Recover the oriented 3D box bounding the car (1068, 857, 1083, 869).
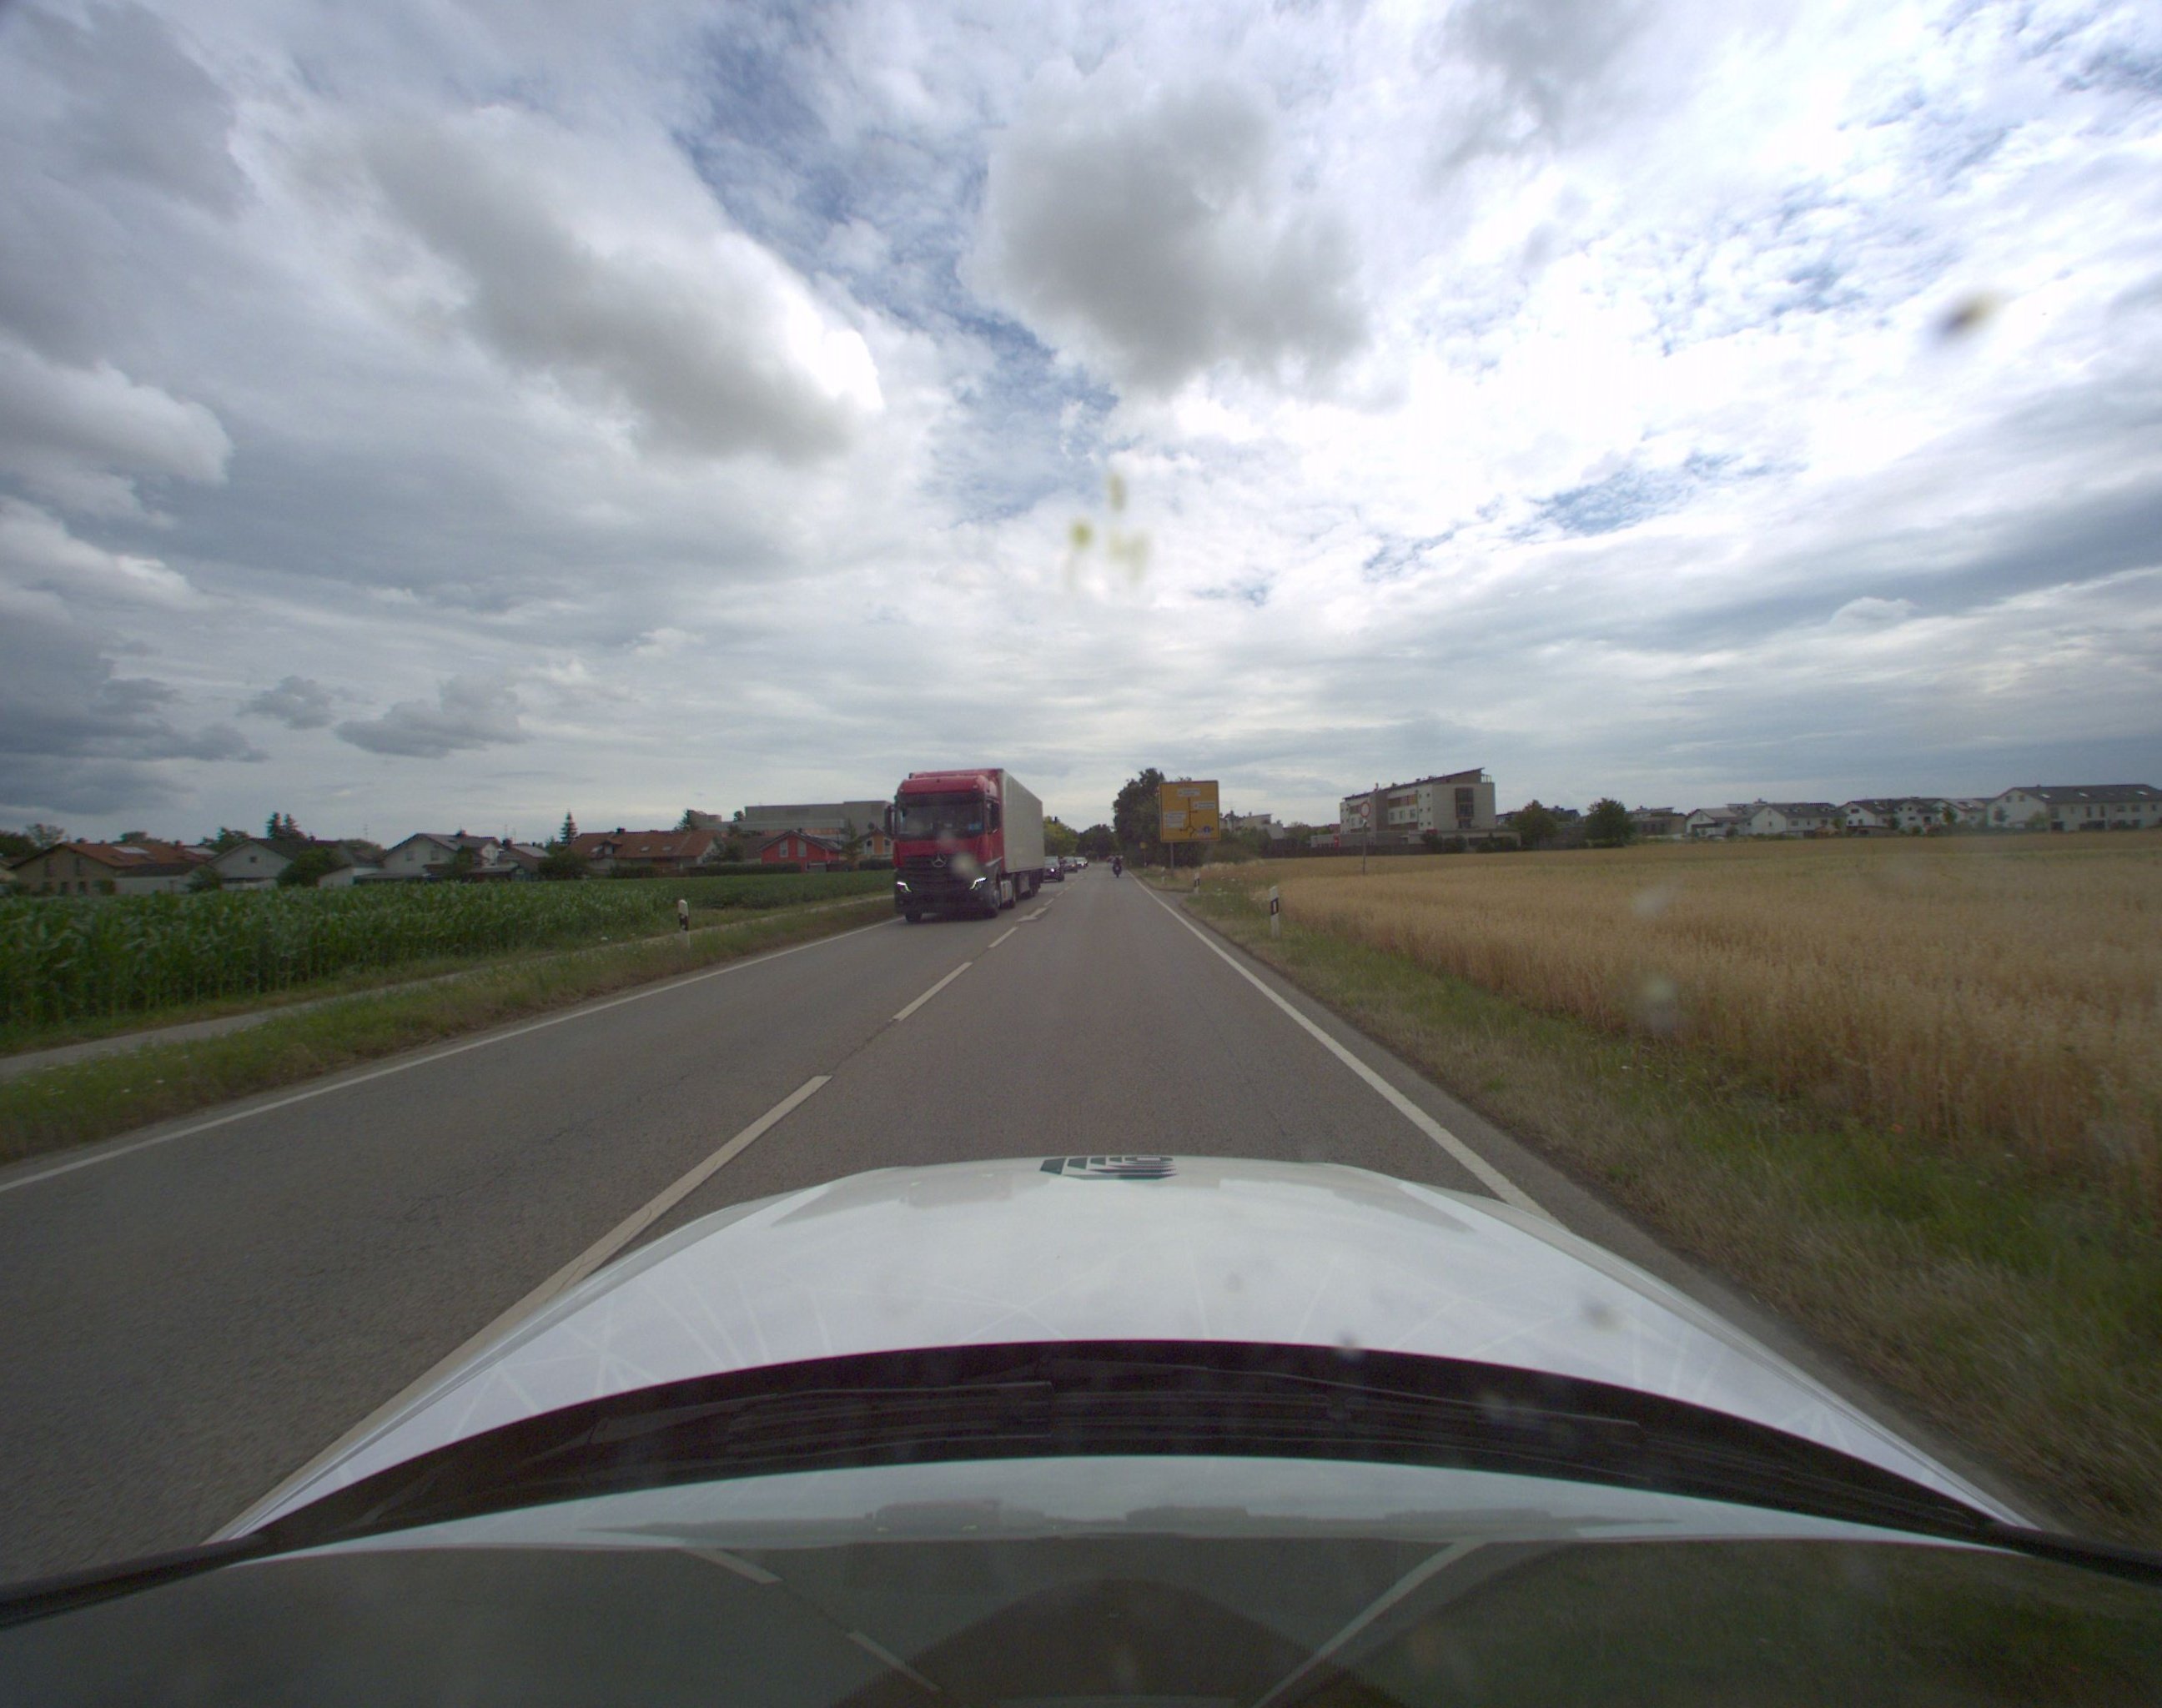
[{"bbox_3d":[-0.644,1.122,102.202,1.849,1.472,4.000,-2,0,0],"label":"car"}]

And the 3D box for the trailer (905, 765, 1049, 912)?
[{"bbox_3d":[-3.146,-0.419,29.465,2.719,3.946,13.789,-3,0,2],"label":"trailer"}]

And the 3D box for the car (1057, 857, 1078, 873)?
[{"bbox_3d":[-1.309,1.030,80.489,1.849,1.472,4.000,-2,0,0],"label":"car"}]

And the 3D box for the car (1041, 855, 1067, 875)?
[{"bbox_3d":[-2.147,0.852,65.304,1.849,1.472,4.000,-2,0,0],"label":"car"}]

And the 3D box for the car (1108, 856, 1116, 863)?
[{"bbox_3d":[6.900,1.167,181.924,1.848,1.472,4.002,-2,0,2],"label":"car"}]

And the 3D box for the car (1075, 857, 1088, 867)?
[{"bbox_3d":[0.126,1.251,125.568,1.849,1.472,4.000,-2,0,0],"label":"car"}]

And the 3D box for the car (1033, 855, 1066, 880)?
[{"bbox_3d":[-1.937,0.833,51.080,1.849,1.472,4.000,-2,0,0],"label":"car"}]

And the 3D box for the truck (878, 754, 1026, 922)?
[{"bbox_3d":[-3.398,-0.388,23.331,2.719,3.987,6.820,-3,0,2],"label":"truck"}]

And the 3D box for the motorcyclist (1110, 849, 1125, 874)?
[{"bbox_3d":[2.614,0.560,58.535,0.938,1.750,1.201,-2,0,1],"label":"motorcyclist"}]

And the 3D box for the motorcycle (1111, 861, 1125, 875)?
[{"bbox_3d":[2.616,1.005,58.460,0.938,0.890,2.146,-2,0,2],"label":"motorcycle"}]
